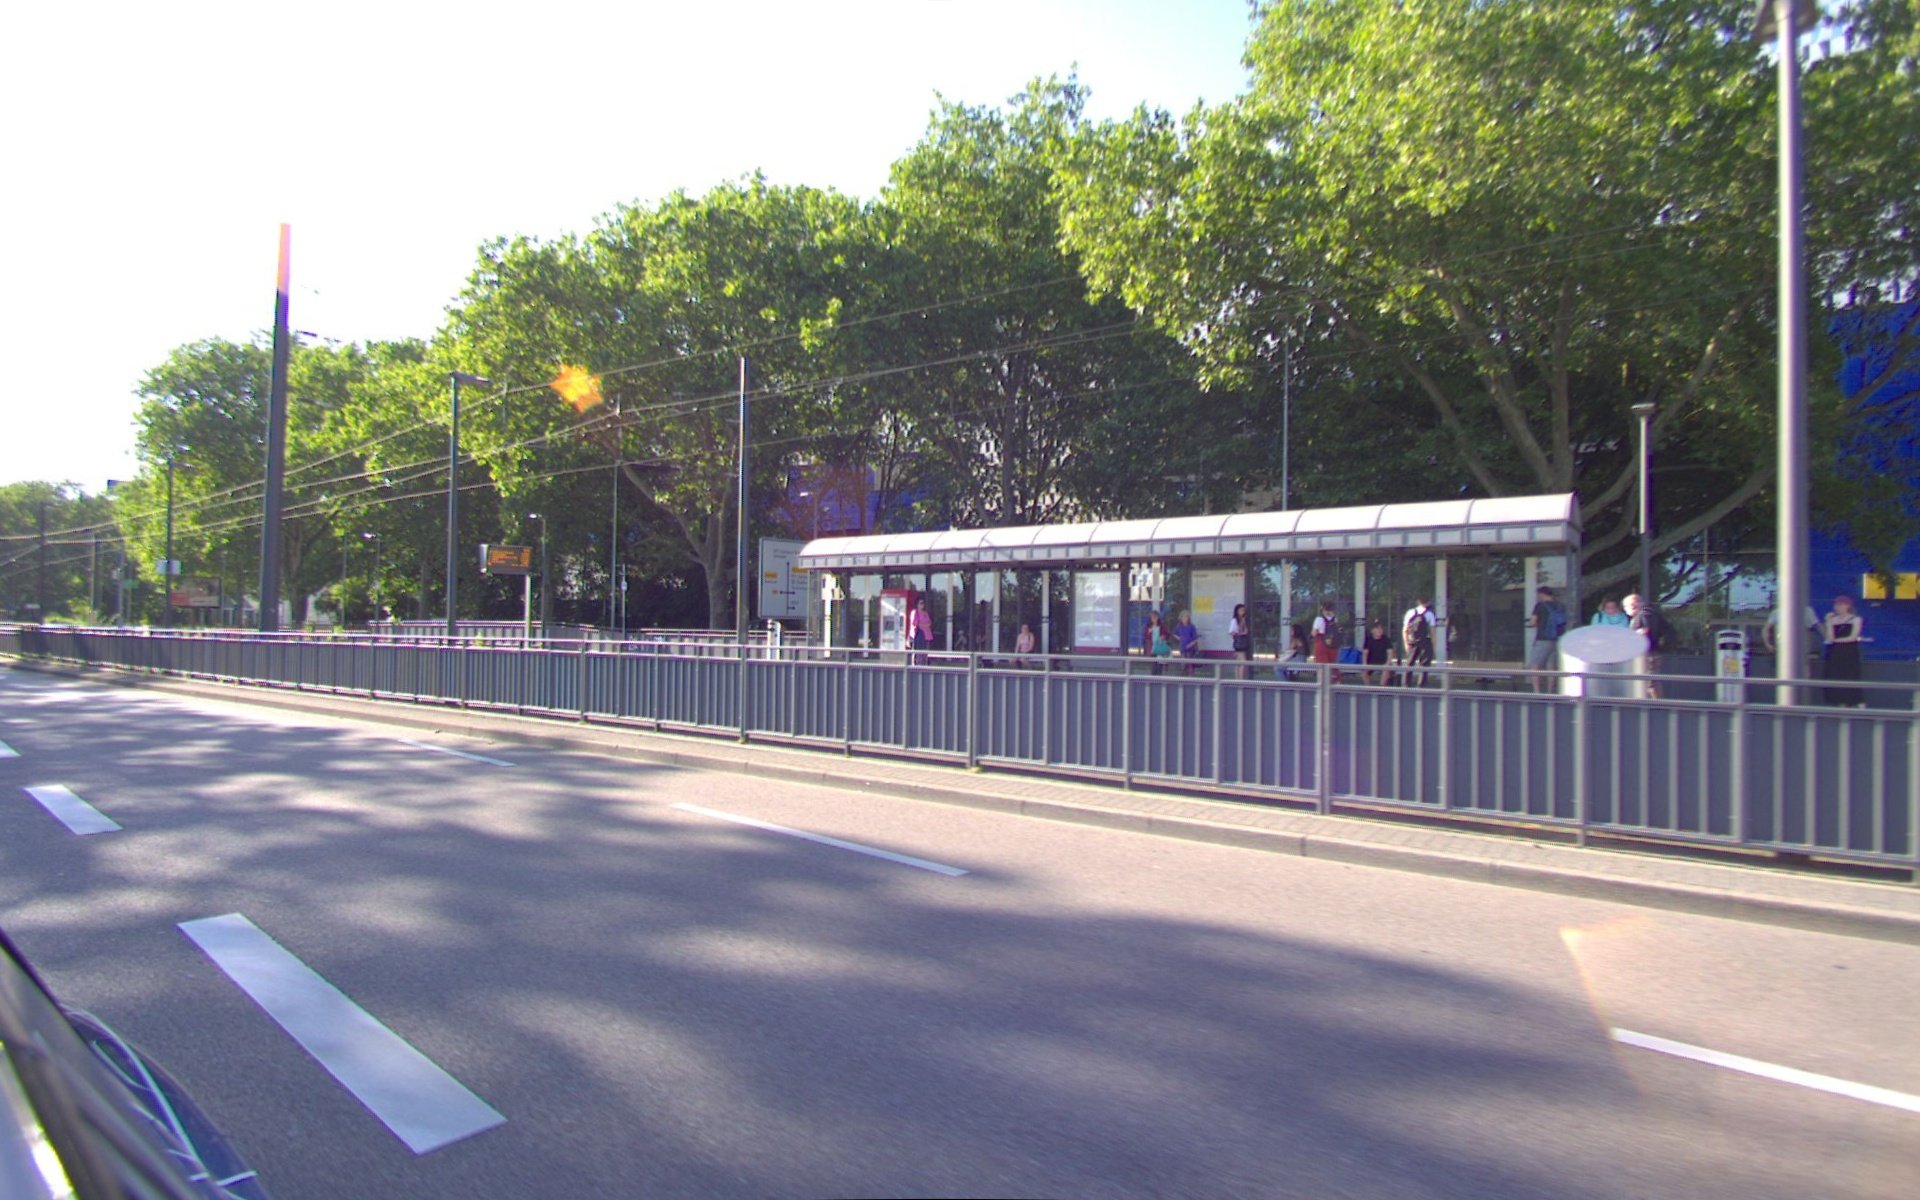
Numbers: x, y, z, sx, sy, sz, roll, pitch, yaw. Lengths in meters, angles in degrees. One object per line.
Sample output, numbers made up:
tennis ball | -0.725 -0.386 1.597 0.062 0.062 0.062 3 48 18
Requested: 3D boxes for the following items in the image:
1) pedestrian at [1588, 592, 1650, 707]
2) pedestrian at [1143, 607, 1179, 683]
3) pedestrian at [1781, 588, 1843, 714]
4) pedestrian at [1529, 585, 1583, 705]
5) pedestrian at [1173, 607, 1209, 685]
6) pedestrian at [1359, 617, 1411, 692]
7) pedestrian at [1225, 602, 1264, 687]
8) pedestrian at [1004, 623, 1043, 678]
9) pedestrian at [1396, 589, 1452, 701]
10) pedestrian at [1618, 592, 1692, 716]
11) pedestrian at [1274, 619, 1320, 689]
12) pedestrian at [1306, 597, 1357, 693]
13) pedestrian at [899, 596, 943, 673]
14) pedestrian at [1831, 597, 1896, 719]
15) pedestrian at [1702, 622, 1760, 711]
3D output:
pedestrian | 10.066 0.740 15.482 0.684 1.704 0.727 -1 0 27
pedestrian | 4.018 0.892 20.234 0.542 1.479 0.610 -1 -2 29
pedestrian | 12.104 0.708 14.382 0.635 1.732 0.644 -1 -1 41
pedestrian | 9.447 0.693 16.033 0.685 1.834 0.726 -1 0 32
pedestrian | 4.537 0.897 19.857 0.574 1.503 0.665 -1 -2 25
pedestrian | 7.383 0.936 17.583 0.684 1.262 0.647 -1 0 35
pedestrian | 5.444 0.844 19.383 0.568 1.589 0.489 2 -2 -44
pedestrian | 1.403 1.105 22.356 0.623 1.171 0.671 -1 -2 35
pedestrian | 7.466 0.709 16.279 0.684 1.755 0.647 -1 0 35
pedestrian | 9.553 0.722 13.911 0.776 1.645 0.653 -1 -1 39
pedestrian | 6.260 0.995 18.815 0.662 1.267 0.576 0 -2 4
pedestrian | 6.548 0.788 17.829 0.568 1.648 0.644 2 -2 -44
pedestrian | -0.892 0.785 23.039 0.677 1.723 0.754 -1 -2 39
pedestrian | 12.462 0.778 13.967 0.635 1.632 0.644 -1 -1 41
pedestrian | 11.145 0.947 14.624 0.617 1.234 0.595 -1 -1 41
